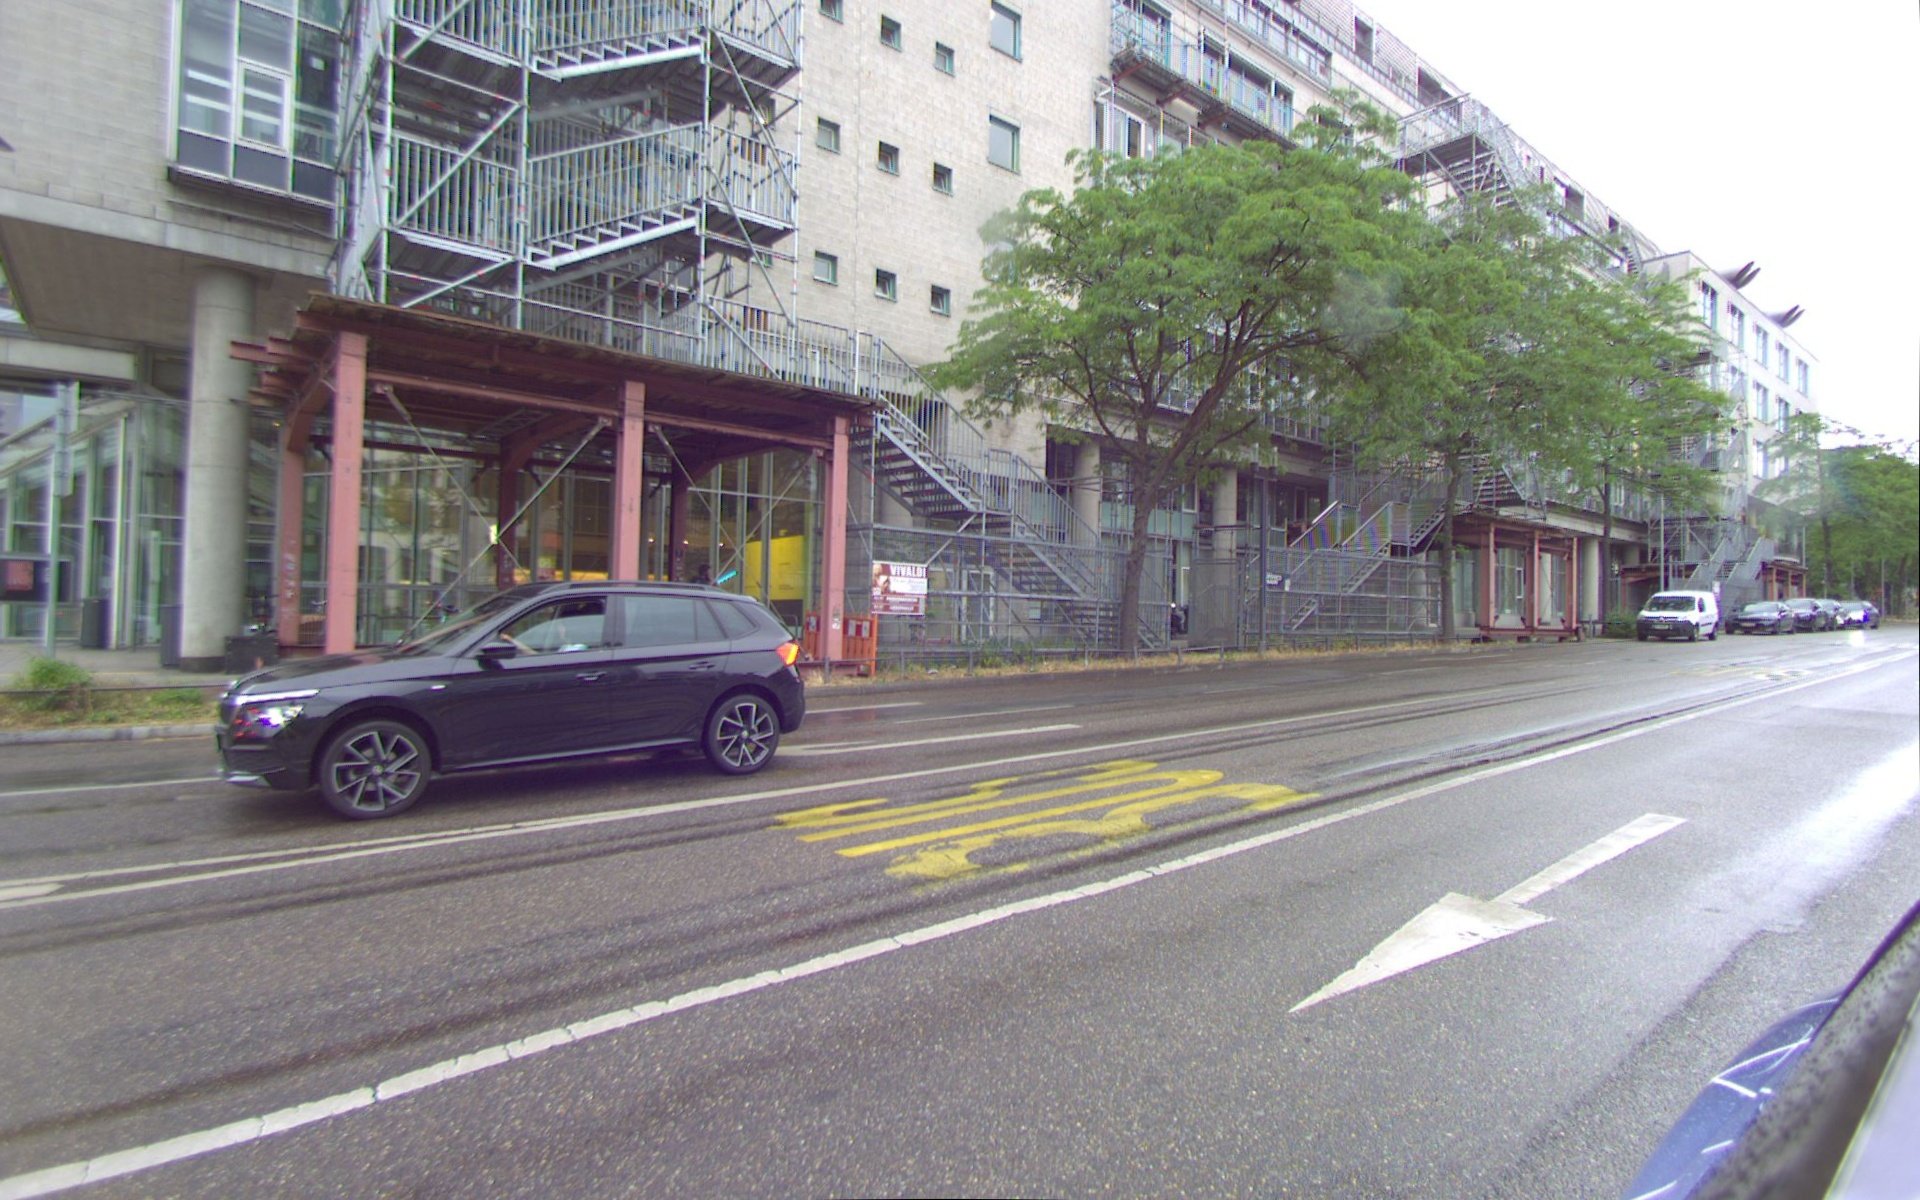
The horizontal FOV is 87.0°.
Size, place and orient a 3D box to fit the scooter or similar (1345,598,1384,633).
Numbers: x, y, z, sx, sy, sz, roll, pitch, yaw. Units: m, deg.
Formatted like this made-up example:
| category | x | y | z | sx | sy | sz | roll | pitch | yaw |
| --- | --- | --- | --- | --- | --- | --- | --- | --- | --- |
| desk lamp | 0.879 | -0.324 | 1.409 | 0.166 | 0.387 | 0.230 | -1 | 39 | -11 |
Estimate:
| category | x | y | z | sx | sy | sz | roll | pitch | yaw |
| --- | --- | --- | --- | --- | --- | --- | --- | --- | --- |
| scooter or similar | 13.818 | 0.521 | 34.555 | 1.520 | 1.176 | 0.632 | 0 | 0 | -41 |

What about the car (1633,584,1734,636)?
| category | x | y | z | sx | sy | sz | roll | pitch | yaw |
| --- | --- | --- | --- | --- | --- | --- | --- | --- | --- |
| car | 26.237 | 0.318 | 36.626 | 4.447 | 1.772 | 1.997 | 0 | 0 | -41 |

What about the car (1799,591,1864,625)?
| category | x | y | z | sx | sy | sz | roll | pitch | yaw |
| --- | --- | --- | --- | --- | --- | --- | --- | --- | --- |
| car | 44.405 | 0.388 | 51.531 | 4.512 | 1.621 | 1.865 | 0 | 0 | -41 |

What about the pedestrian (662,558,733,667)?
| category | x | y | z | sx | sy | sz | roll | pitch | yaw |
| --- | --- | --- | --- | --- | --- | --- | --- | --- | --- |
| pedestrian | -4.693 | 0.210 | 18.085 | 1.037 | 1.875 | 0.681 | 0 | 0 | -40 |

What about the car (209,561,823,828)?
| category | x | y | z | sx | sy | sz | roll | pitch | yaw |
| --- | --- | --- | --- | --- | --- | --- | --- | --- | --- |
| car | -3.283 | 0.541 | 7.880 | 4.071 | 1.559 | 1.782 | 0 | 0 | -39 |

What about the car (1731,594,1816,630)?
| category | x | y | z | sx | sy | sz | roll | pitch | yaw |
| --- | --- | --- | --- | --- | --- | --- | --- | --- | --- |
| car | 35.271 | 0.508 | 43.814 | 4.831 | 1.455 | 1.873 | 0 | 0 | -39 |

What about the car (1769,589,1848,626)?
| category | x | y | z | sx | sy | sz | roll | pitch | yaw |
| --- | --- | --- | --- | --- | --- | --- | --- | --- | --- |
| car | 40.375 | 0.363 | 48.119 | 4.774 | 1.667 | 1.998 | 0 | 0 | -39 |

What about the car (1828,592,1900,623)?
| category | x | y | z | sx | sy | sz | roll | pitch | yaw |
| --- | --- | --- | --- | --- | --- | --- | --- | --- | --- |
| car | 49.126 | 0.405 | 54.958 | 5.191 | 1.621 | 1.999 | 0 | 0 | -38 |

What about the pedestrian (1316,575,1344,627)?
| category | x | y | z | sx | sy | sz | roll | pitch | yaw |
| --- | --- | --- | --- | --- | --- | --- | --- | --- | --- |
| pedestrian | 12.893 | 0.030 | 35.249 | 0.641 | 1.764 | 0.678 | 0 | 0 | -38 |
